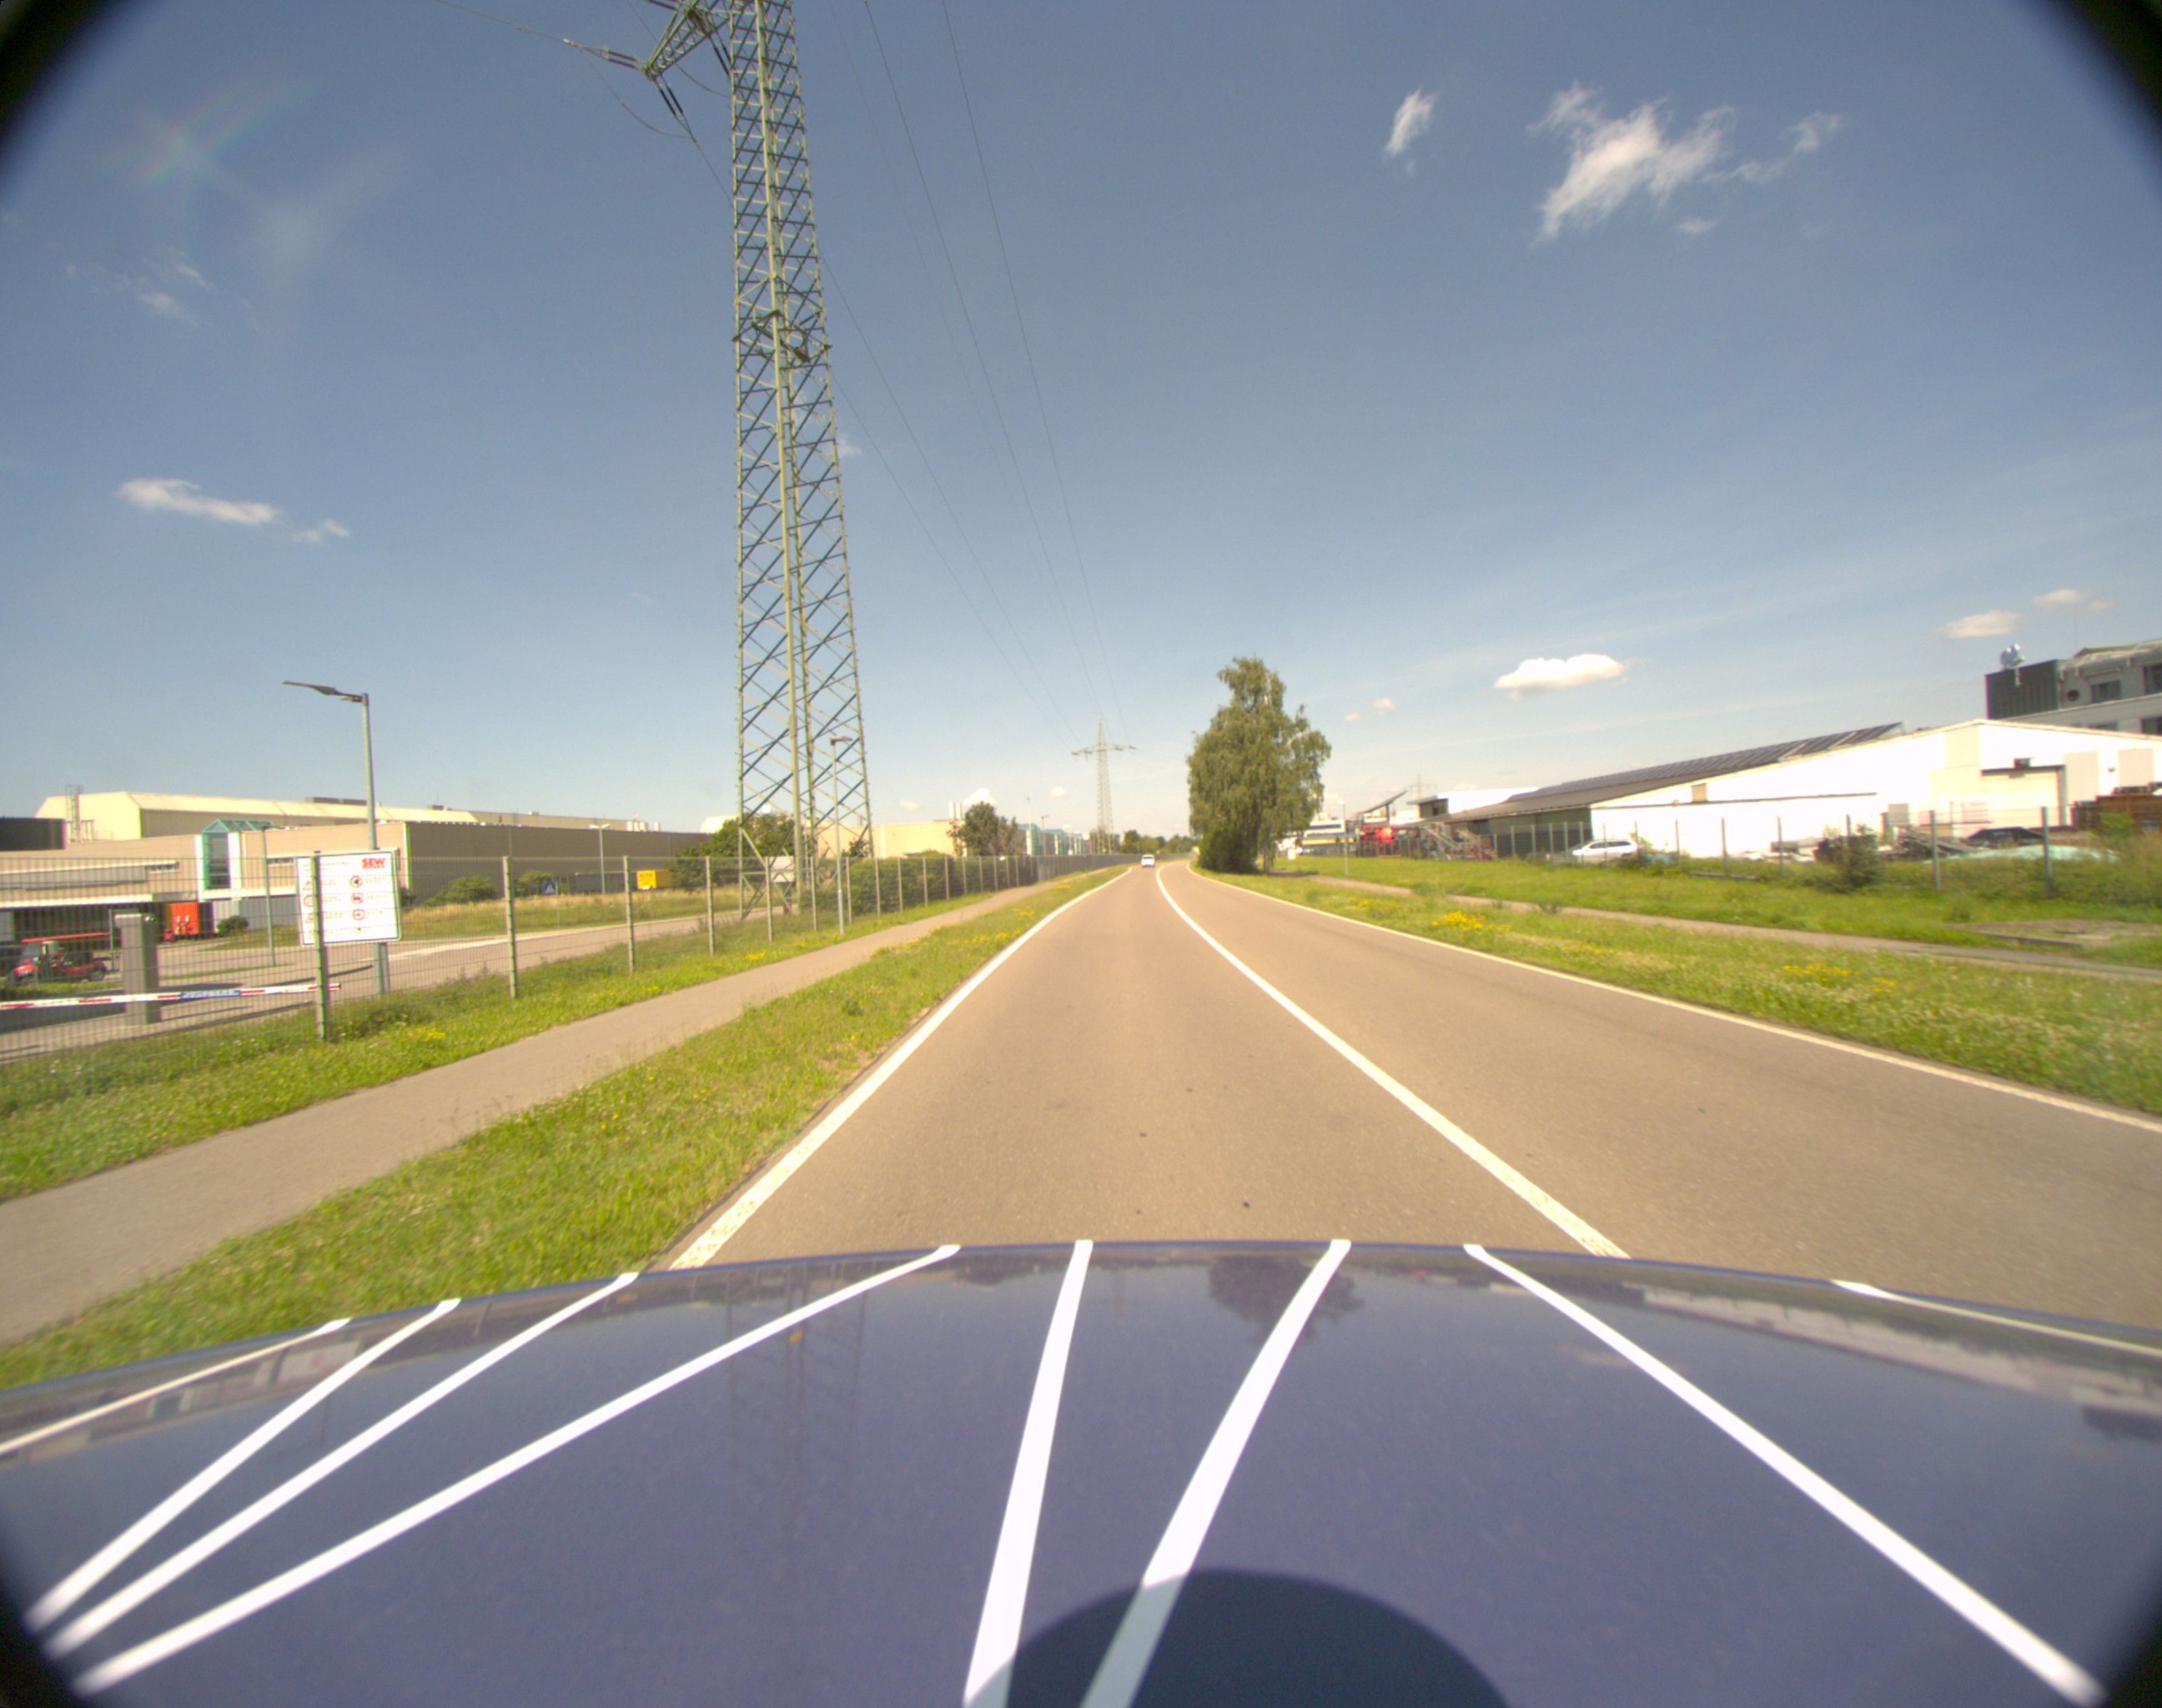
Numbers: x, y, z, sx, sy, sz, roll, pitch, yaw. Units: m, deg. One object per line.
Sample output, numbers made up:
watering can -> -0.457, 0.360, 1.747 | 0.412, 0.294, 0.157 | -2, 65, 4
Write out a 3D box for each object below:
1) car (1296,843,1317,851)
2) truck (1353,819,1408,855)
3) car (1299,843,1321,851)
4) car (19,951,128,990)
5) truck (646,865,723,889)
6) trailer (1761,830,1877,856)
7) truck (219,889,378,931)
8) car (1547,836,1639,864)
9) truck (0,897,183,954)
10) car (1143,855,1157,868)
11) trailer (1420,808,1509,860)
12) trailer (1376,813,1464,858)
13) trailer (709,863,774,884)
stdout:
car -> 50.734, -1.573, 171.184 | 4.219, 1.591, 1.871 | -2, 1, 6
truck -> 32.458, -1.774, 82.812 | 3.107, 3.624, 10.599 | -2, 1, 8
car -> 49.933, -1.610, 165.926 | 4.219, 1.634, 1.871 | -2, 1, 6
car -> -38.949, 4.502, 29.417 | 1.197, 1.147, 2.197 | -2, 1, 10
truck -> -55.102, 3.125, 106.197 | 1.997, 2.697, 13.744 | -2, 1, 7
trailer -> 38.612, -0.580, 39.832 | 3.995, 1.159, 1.905 | -2, 0, 7
truck -> -75.445, 5.286, 73.818 | 1.998, 2.944, 11.857 | -4, 0, 6
car -> 29.274, -0.231, 43.536 | 3.995, 1.335, 1.748 | -3, 0, 8
truck -> -74.669, 5.233, 54.894 | 1.998, 3.342, 13.636 | -4, 0, 6
car -> 10.309, 1.065, 113.253 | 1.835, 1.796, 4.832 | -1, 0, 7
trailer -> 29.290, -1.469, 58.490 | 3.406, 3.624, 8.663 | -2, 1, 8
trailer -> 30.826, -1.616, 70.168 | 3.297, 3.624, 14.932 | -2, 1, 8
trailer -> -53.313, 2.953, 119.908 | 1.997, 2.697, 14.104 | -2, 1, 8
